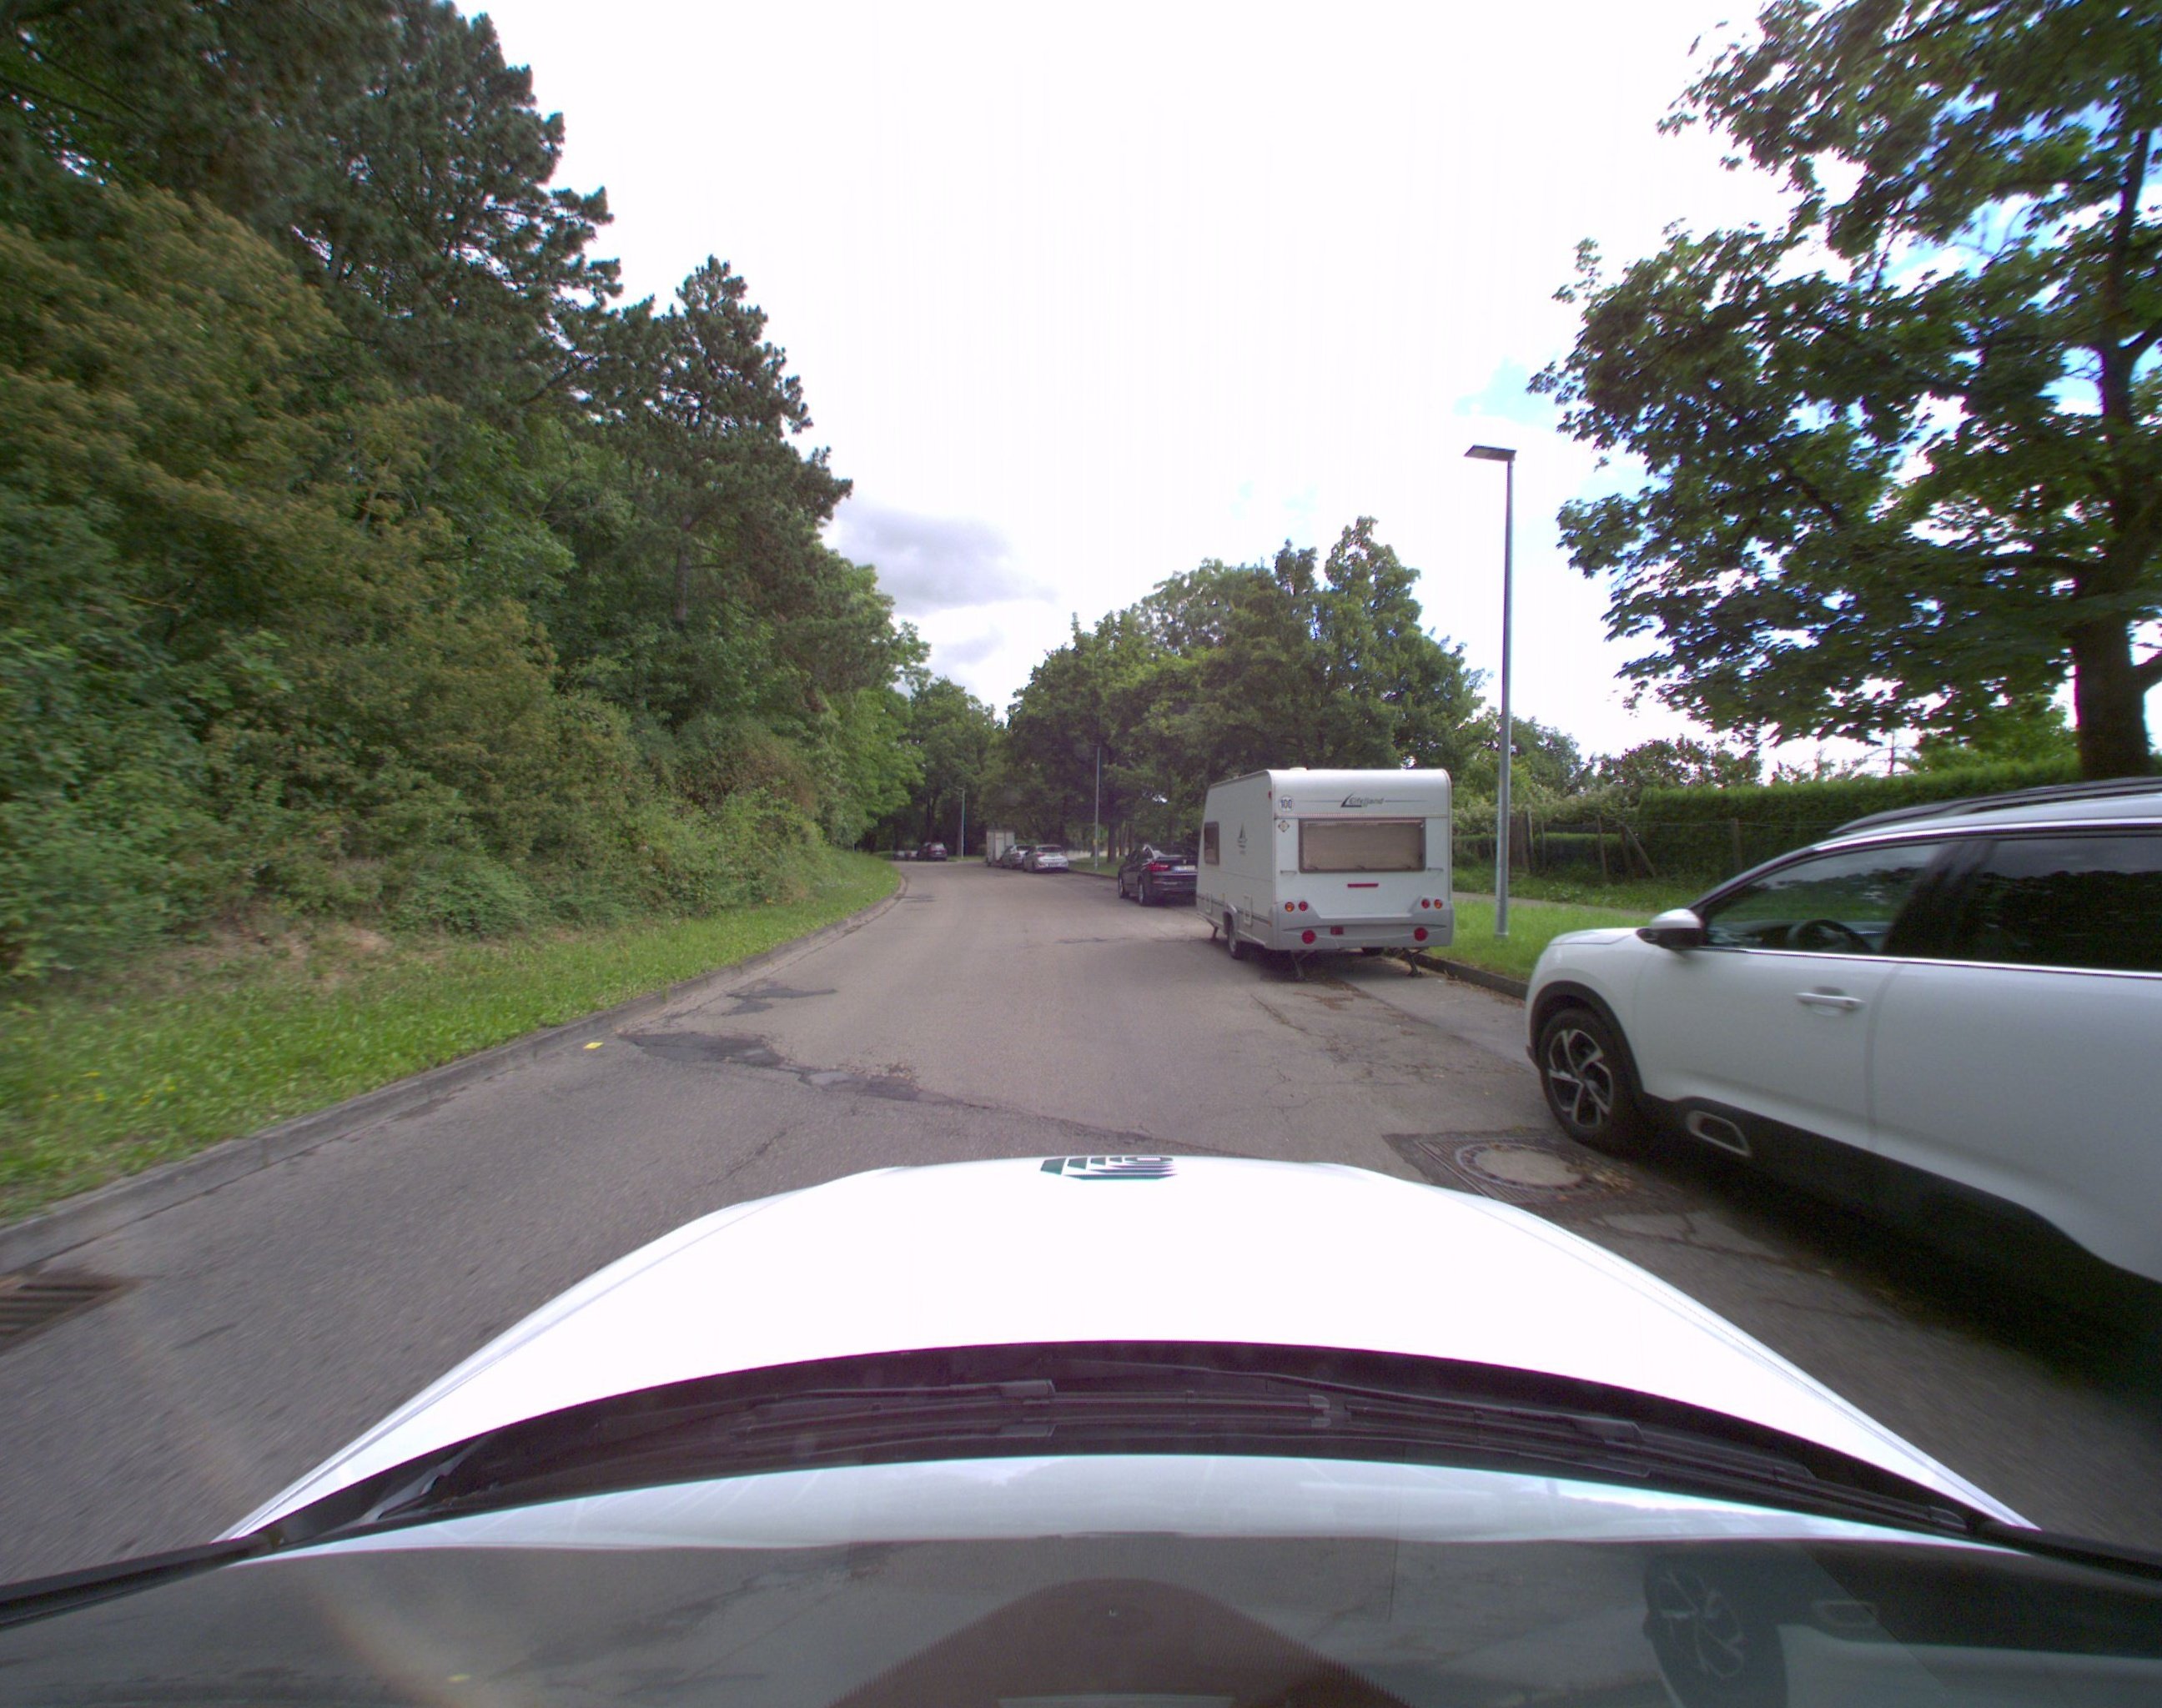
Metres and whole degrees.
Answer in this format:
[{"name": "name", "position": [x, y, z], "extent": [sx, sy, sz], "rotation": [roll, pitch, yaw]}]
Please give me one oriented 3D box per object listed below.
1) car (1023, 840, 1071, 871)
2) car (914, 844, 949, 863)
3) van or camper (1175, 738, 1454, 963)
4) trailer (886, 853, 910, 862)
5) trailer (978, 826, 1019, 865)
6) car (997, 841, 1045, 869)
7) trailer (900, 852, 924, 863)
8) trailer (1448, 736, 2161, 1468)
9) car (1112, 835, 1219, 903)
[{"name": "car", "position": [-1.816, 0.113, 42.408], "extent": [1.903, 1.477, 4.042], "rotation": [1, -2, -12]}, {"name": "car", "position": [-13.138, -0.022, 71.380], "extent": [1.785, 1.662, 4.798], "rotation": [1, -1, -27]}, {"name": "van or camper", "position": [3.011, -0.038, 12.246], "extent": [2.157, 2.536, 6.023], "rotation": [0, 0, -4]}, {"name": "trailer", "position": [-18.229, 0.368, 80.907], "extent": [1.372, 0.848, 3.246], "rotation": [1, -2, -31]}, {"name": "trailer", "position": [-5.506, -0.574, 53.872], "extent": [1.766, 2.426, 3.861], "rotation": [-1, 1, -20]}, {"name": "car", "position": [-3.650, 0.060, 48.817], "extent": [1.746, 1.525, 4.606], "rotation": [-1, 0, -19]}, {"name": "trailer", "position": [-15.925, 0.364, 76.747], "extent": [1.364, 0.969, 3.860], "rotation": [1, 0, -25]}, {"name": "trailer", "position": [3.391, 0.573, 3.069], "extent": [1.767, 1.731, 4.647], "rotation": [-2, -1, -2]}, {"name": "car", "position": [2.181, 0.341, 22.308], "extent": [1.847, 1.643, 4.517], "rotation": [-1, 1, -9]}]
